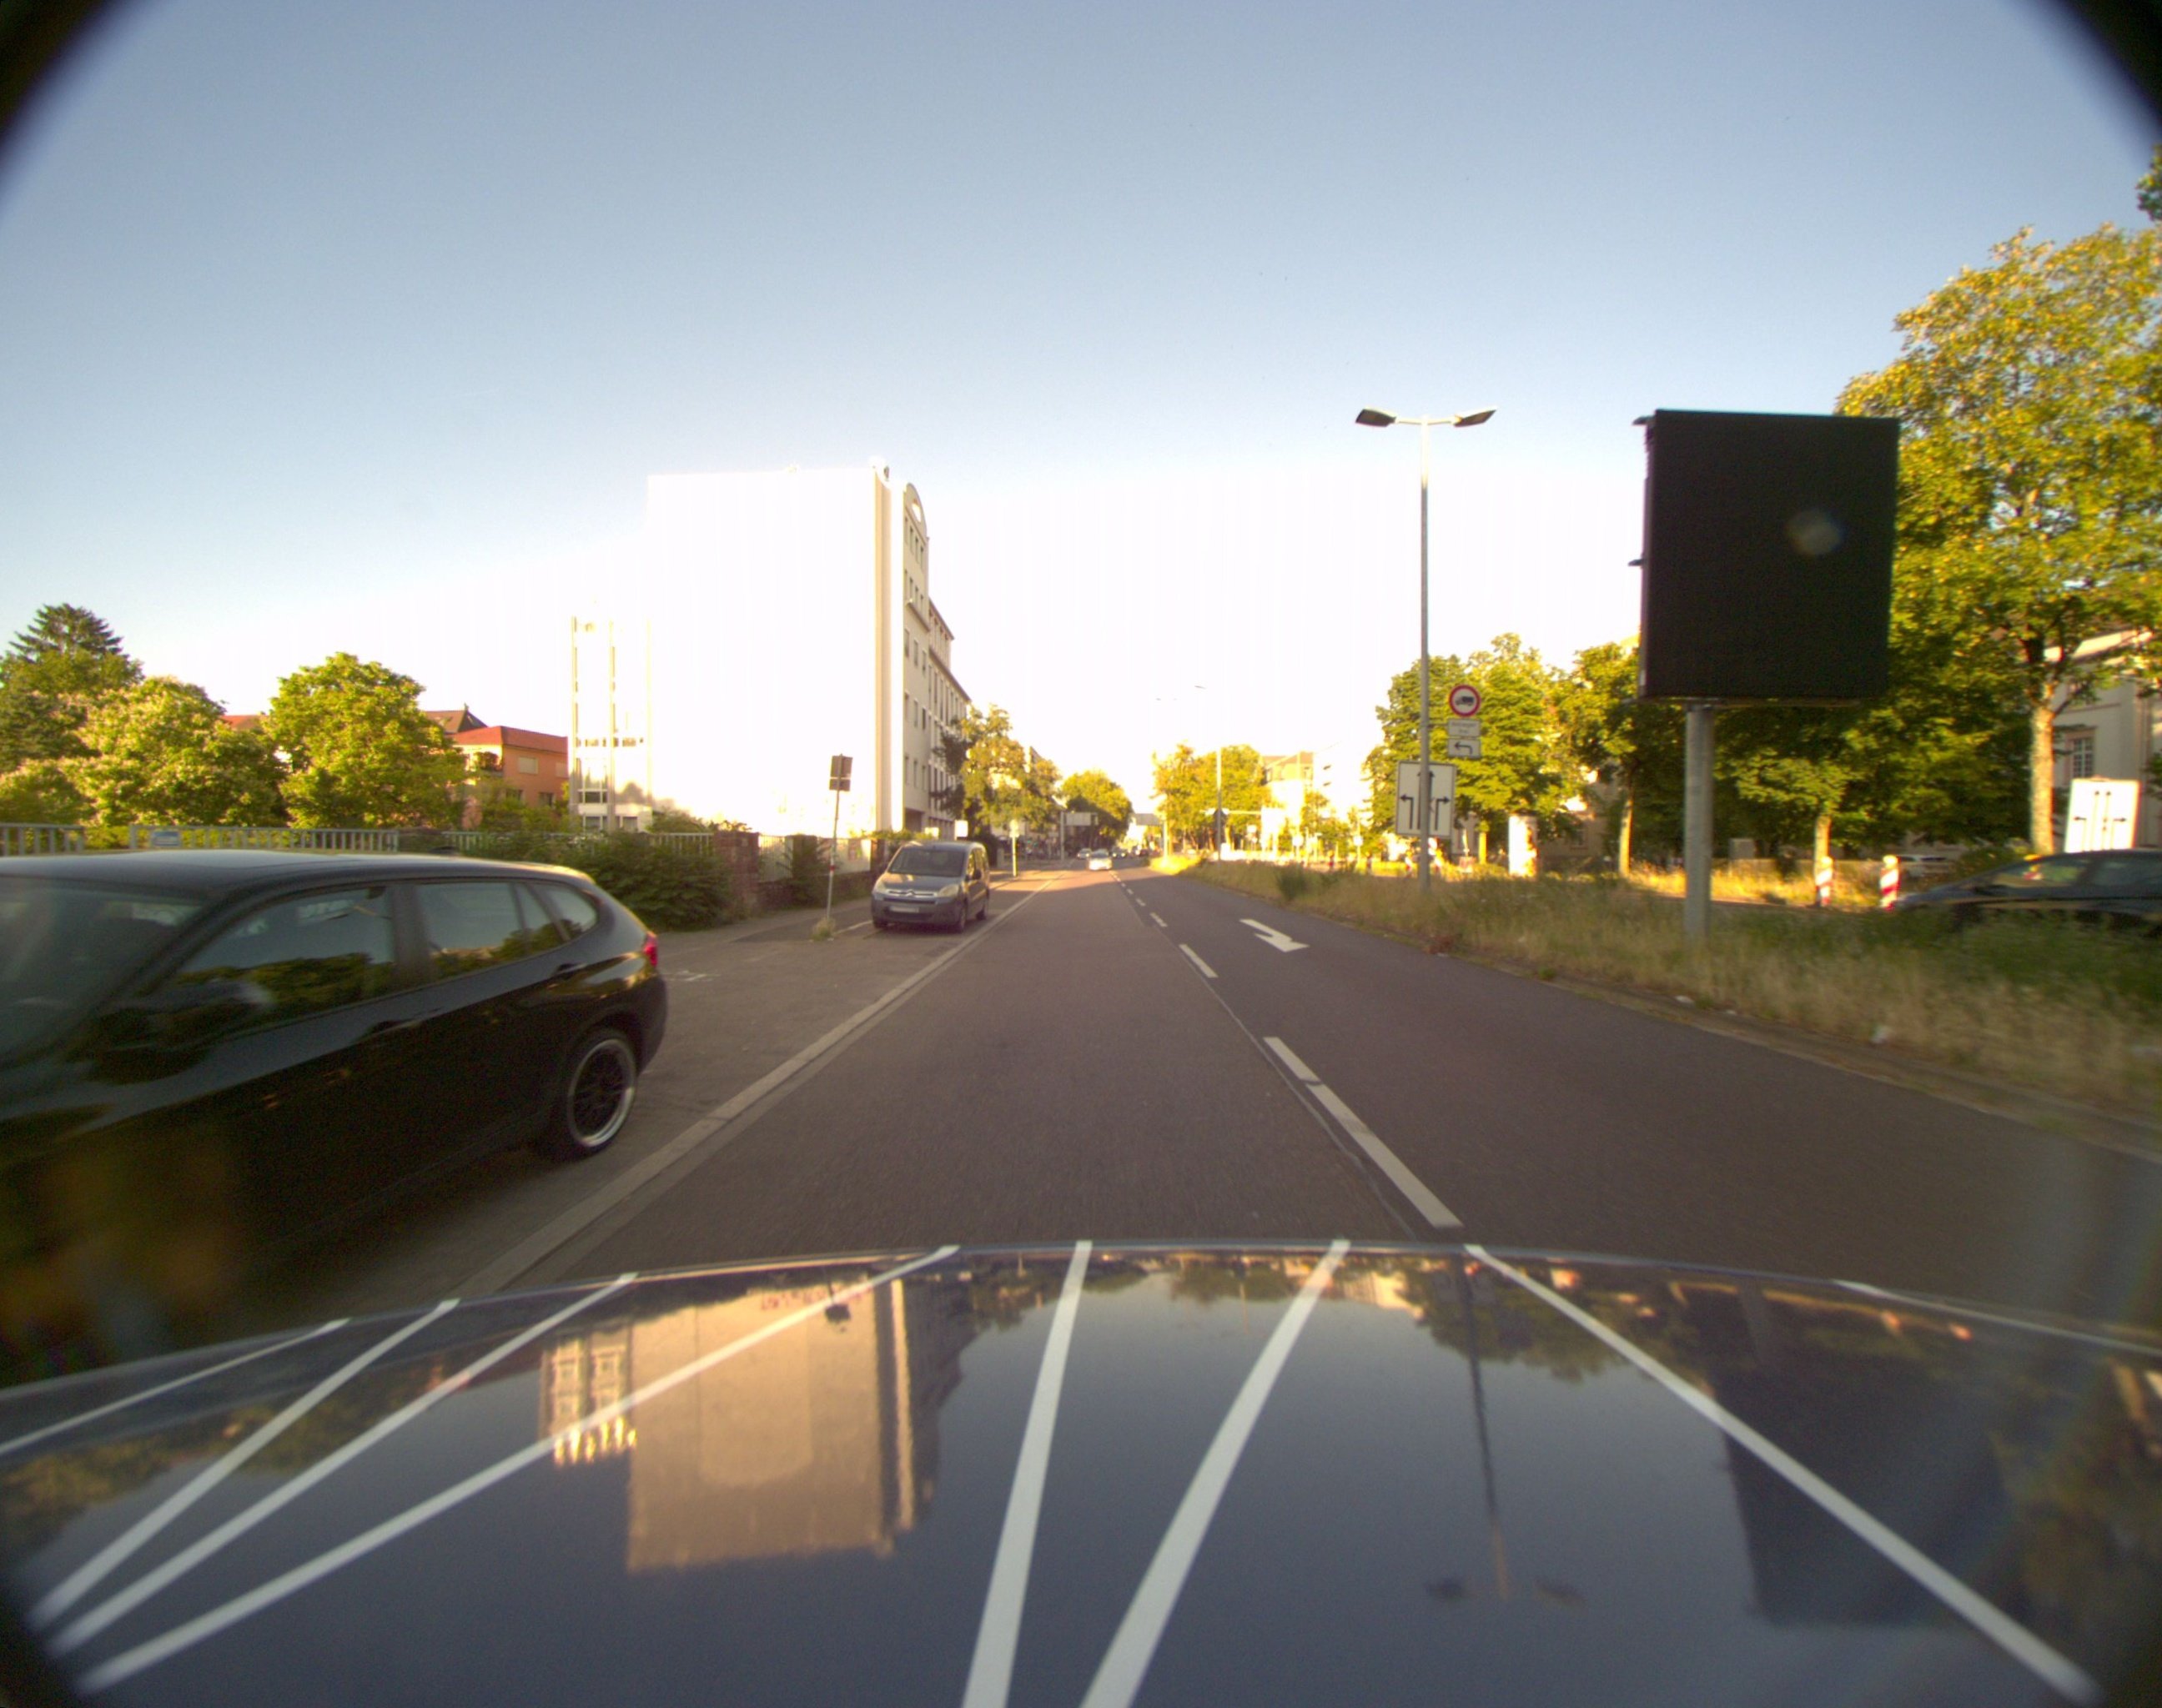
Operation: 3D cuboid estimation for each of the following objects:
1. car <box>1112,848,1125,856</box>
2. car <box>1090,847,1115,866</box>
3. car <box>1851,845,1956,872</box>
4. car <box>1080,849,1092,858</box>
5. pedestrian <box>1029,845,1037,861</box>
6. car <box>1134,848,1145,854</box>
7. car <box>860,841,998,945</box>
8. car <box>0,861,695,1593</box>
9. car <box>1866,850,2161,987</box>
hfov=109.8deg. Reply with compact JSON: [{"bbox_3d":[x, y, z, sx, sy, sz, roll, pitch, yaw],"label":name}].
[{"bbox_3d":[6.065,-0.273,122.603,1.947,1.259,4.163,0,0,1],"label":"car"},{"bbox_3d":[1.709,0.189,59.977,1.895,1.455,3.965,0,1,1],"label":"car"},{"bbox_3d":[46.449,0.207,43.019,1.698,1.368,4.000,-2,1,2],"label":"car"},{"bbox_3d":[0.849,-0.089,123.321,1.947,1.514,4.163,0,1,1],"label":"car"},{"bbox_3d":[-5.707,-0.086,89.973,0.720,1.835,0.749,1,1,17],"label":"pedestrian"},{"bbox_3d":[12.229,-0.676,159.414,1.947,1.259,4.163,0,0,1],"label":"car"},{"bbox_3d":[-3.009,0.669,16.045,1.778,1.818,4.555,2,1,2],"label":"car"},{"bbox_3d":[-3.347,0.891,2.420,1.778,1.565,4.499,3,1,2],"label":"car"},{"bbox_3d":[12.334,0.725,9.071,1.778,1.409,4.007,3,1,2],"label":"car"}]
